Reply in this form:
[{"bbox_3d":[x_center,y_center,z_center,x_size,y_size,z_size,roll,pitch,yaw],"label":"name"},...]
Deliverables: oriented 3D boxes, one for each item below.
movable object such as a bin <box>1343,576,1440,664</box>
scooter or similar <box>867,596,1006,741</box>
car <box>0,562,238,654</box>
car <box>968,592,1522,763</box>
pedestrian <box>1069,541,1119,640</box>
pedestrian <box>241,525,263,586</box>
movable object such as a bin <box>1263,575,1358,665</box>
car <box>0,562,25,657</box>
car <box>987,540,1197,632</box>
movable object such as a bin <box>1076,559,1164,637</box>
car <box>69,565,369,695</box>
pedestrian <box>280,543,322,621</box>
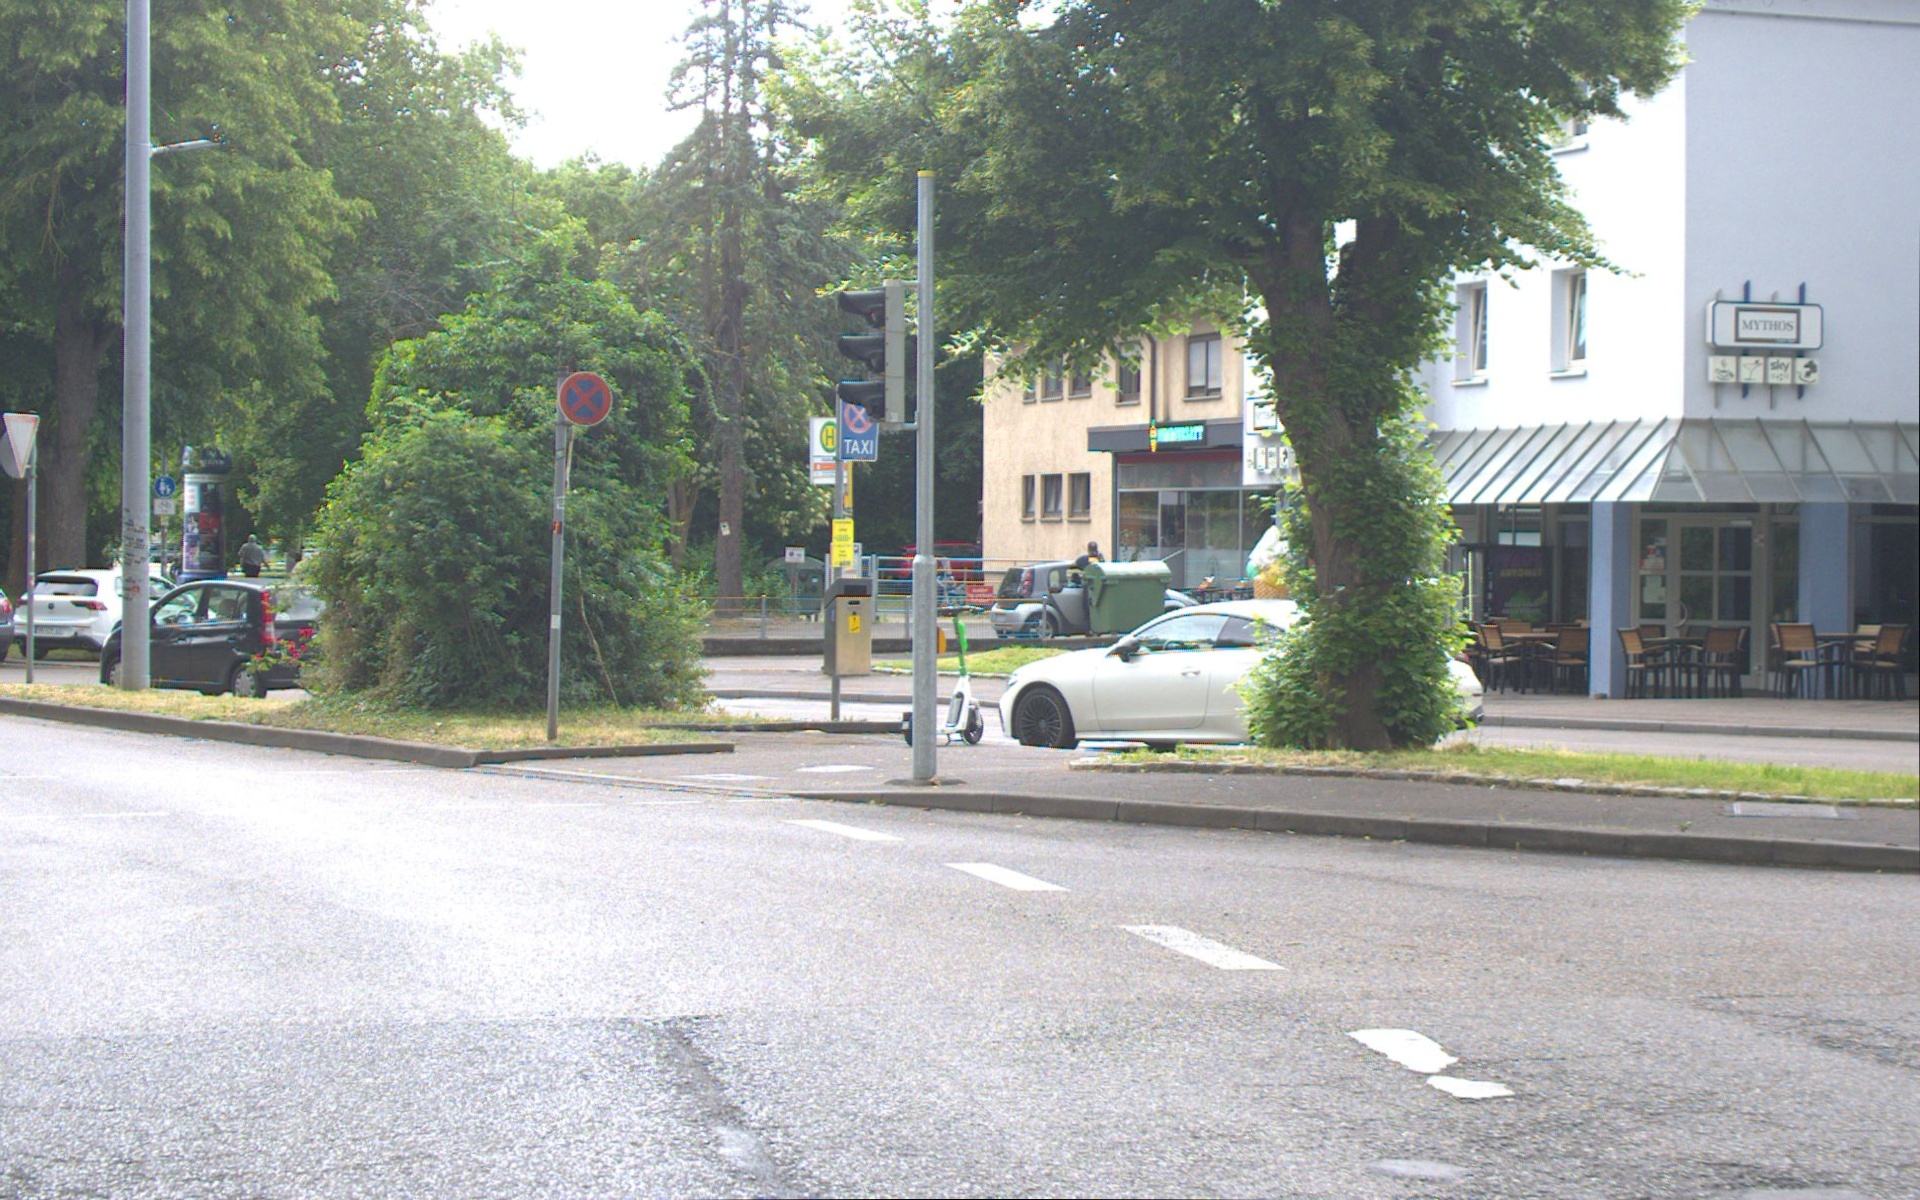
[{"bbox_3d":[6.924,0.310,55.205,1.214,1.390,1.161,0,1,-13],"label":"movable object such as a bin"},{"bbox_3d":[-0.186,0.573,28.449,0.412,1.163,1.359,1,-1,35],"label":"scooter or similar"},{"bbox_3d":[-13.478,0.092,54.964,1.761,1.376,4.257,1,1,21],"label":"car"},{"bbox_3d":[2.497,0.642,31.019,4.784,1.382,1.995,0,1,43],"label":"car"},{"bbox_3d":[2.351,-0.165,60.369,0.687,1.723,0.611,0,0,-23],"label":"pedestrian"},{"bbox_3d":[-17.706,-1.109,85.953,0.510,1.526,0.778,1,1,-14],"label":"pedestrian"},{"bbox_3d":[5.594,0.317,54.926,1.214,1.411,1.095,0,1,-13],"label":"movable object such as a bin"},{"bbox_3d":[-16.390,0.069,52.503,4.107,1.424,1.730,3,2,33],"label":"car"},{"bbox_3d":[2.350,-0.264,61.489,3.412,1.625,1.625,0,1,-16],"label":"car"},{"bbox_3d":[2.763,-0.042,59.450,1.216,1.340,0.995,0,1,-22],"label":"movable object such as a bin"},{"bbox_3d":[-8.803,0.329,40.759,3.491,1.399,1.570,2,2,37],"label":"car"},{"bbox_3d":[-13.227,-0.365,68.986,0.683,1.546,0.743,0,1,-23],"label":"pedestrian"}]
